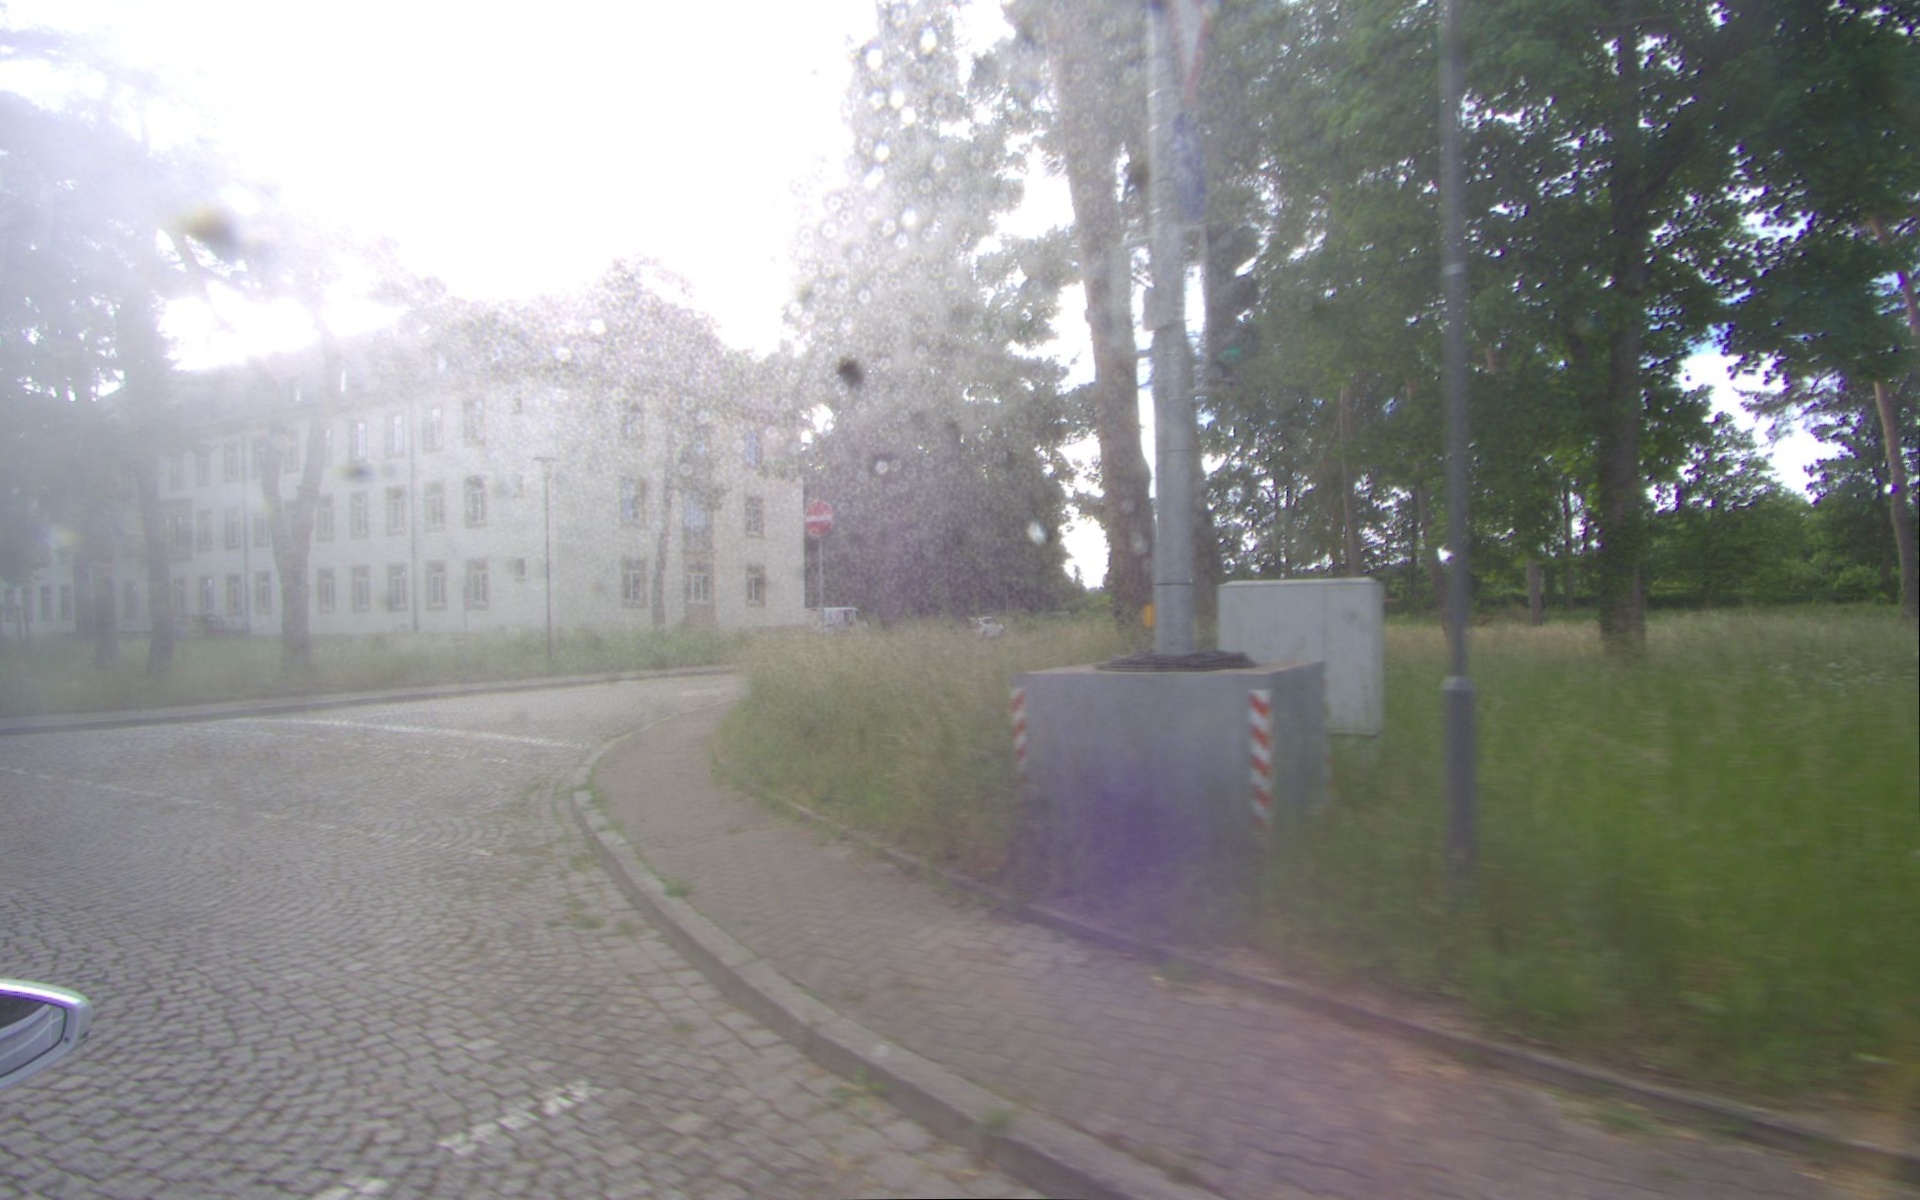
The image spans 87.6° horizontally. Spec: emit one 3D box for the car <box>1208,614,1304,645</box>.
[{"bbox_3d":[14.501,1.434,49.027,4.183,1.434,1.884,0,-1,-18],"label":"car"}]

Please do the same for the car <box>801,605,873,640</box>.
[{"bbox_3d":[-8.278,1.511,67.988,2.181,2.318,5.173,-1,-1,30],"label":"car"}]

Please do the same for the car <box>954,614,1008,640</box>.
[{"bbox_3d":[1.336,1.693,63.411,1.970,1.527,3.477,-1,-1,30],"label":"car"}]
